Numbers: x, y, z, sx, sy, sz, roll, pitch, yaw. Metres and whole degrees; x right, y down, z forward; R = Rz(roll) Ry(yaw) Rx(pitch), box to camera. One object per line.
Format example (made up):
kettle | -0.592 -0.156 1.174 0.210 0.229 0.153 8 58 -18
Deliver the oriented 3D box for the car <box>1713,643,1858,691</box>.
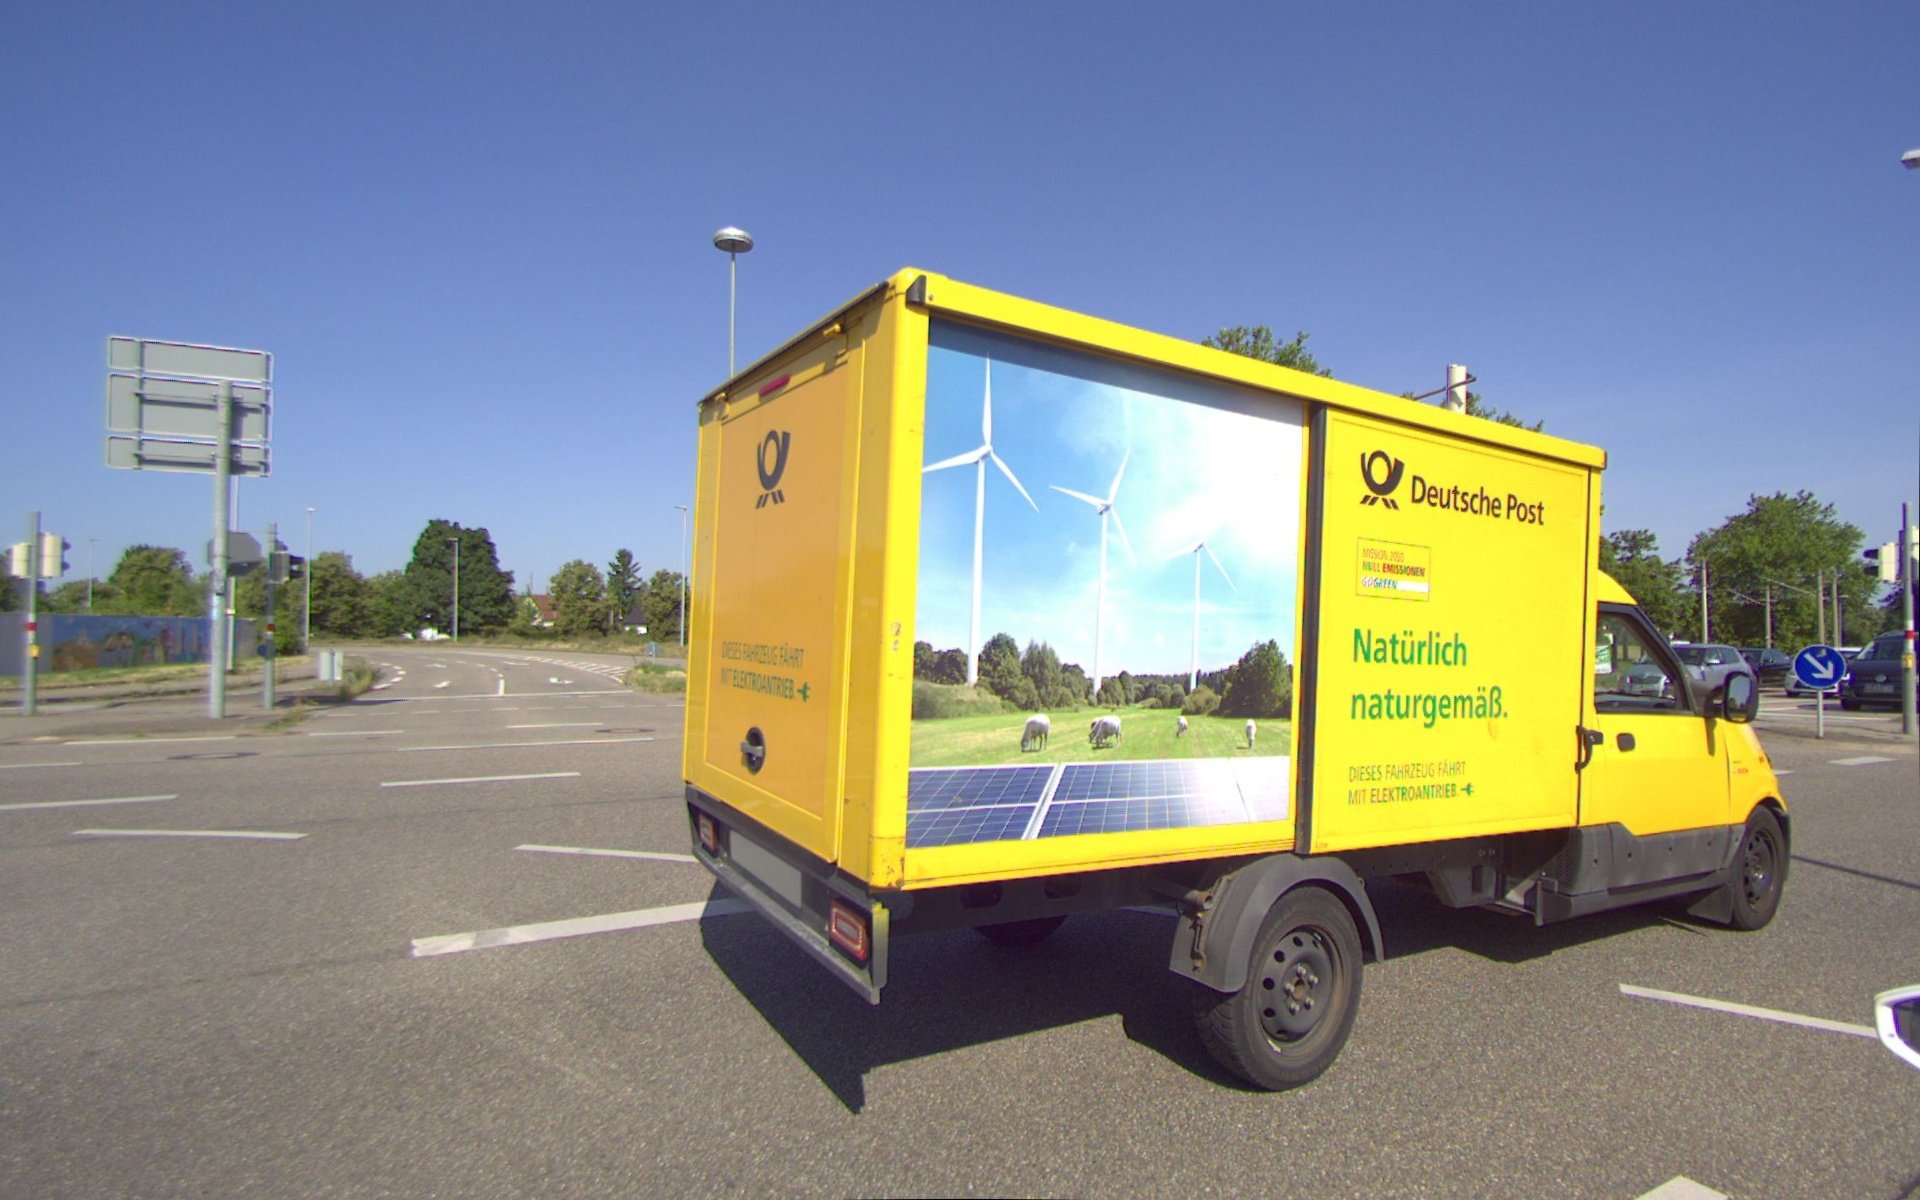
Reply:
car | 27.648 2.210 33.585 5.551 1.493 1.984 2 -2 -31

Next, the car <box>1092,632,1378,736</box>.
car | 4.445 1.277 16.131 4.279 1.476 1.973 2 -2 -29

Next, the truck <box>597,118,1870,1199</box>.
truck | 1.634 0.313 4.554 5.849 2.490 2.101 2 -1 -31

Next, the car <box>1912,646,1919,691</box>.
car | 33.756 2.309 33.522 3.952 1.504 1.807 2 -2 -29

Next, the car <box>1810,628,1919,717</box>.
car | 20.823 1.544 21.916 4.451 1.773 1.973 2 -2 -28

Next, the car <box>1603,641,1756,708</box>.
car | 17.318 1.743 24.155 3.827 1.476 1.611 2 -2 -31

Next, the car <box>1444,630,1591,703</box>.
car | 14.775 1.731 26.566 4.185 1.793 1.694 2 -3 -34

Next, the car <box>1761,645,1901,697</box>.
car | 25.127 2.020 28.976 3.795 1.404 1.822 2 -2 -28
